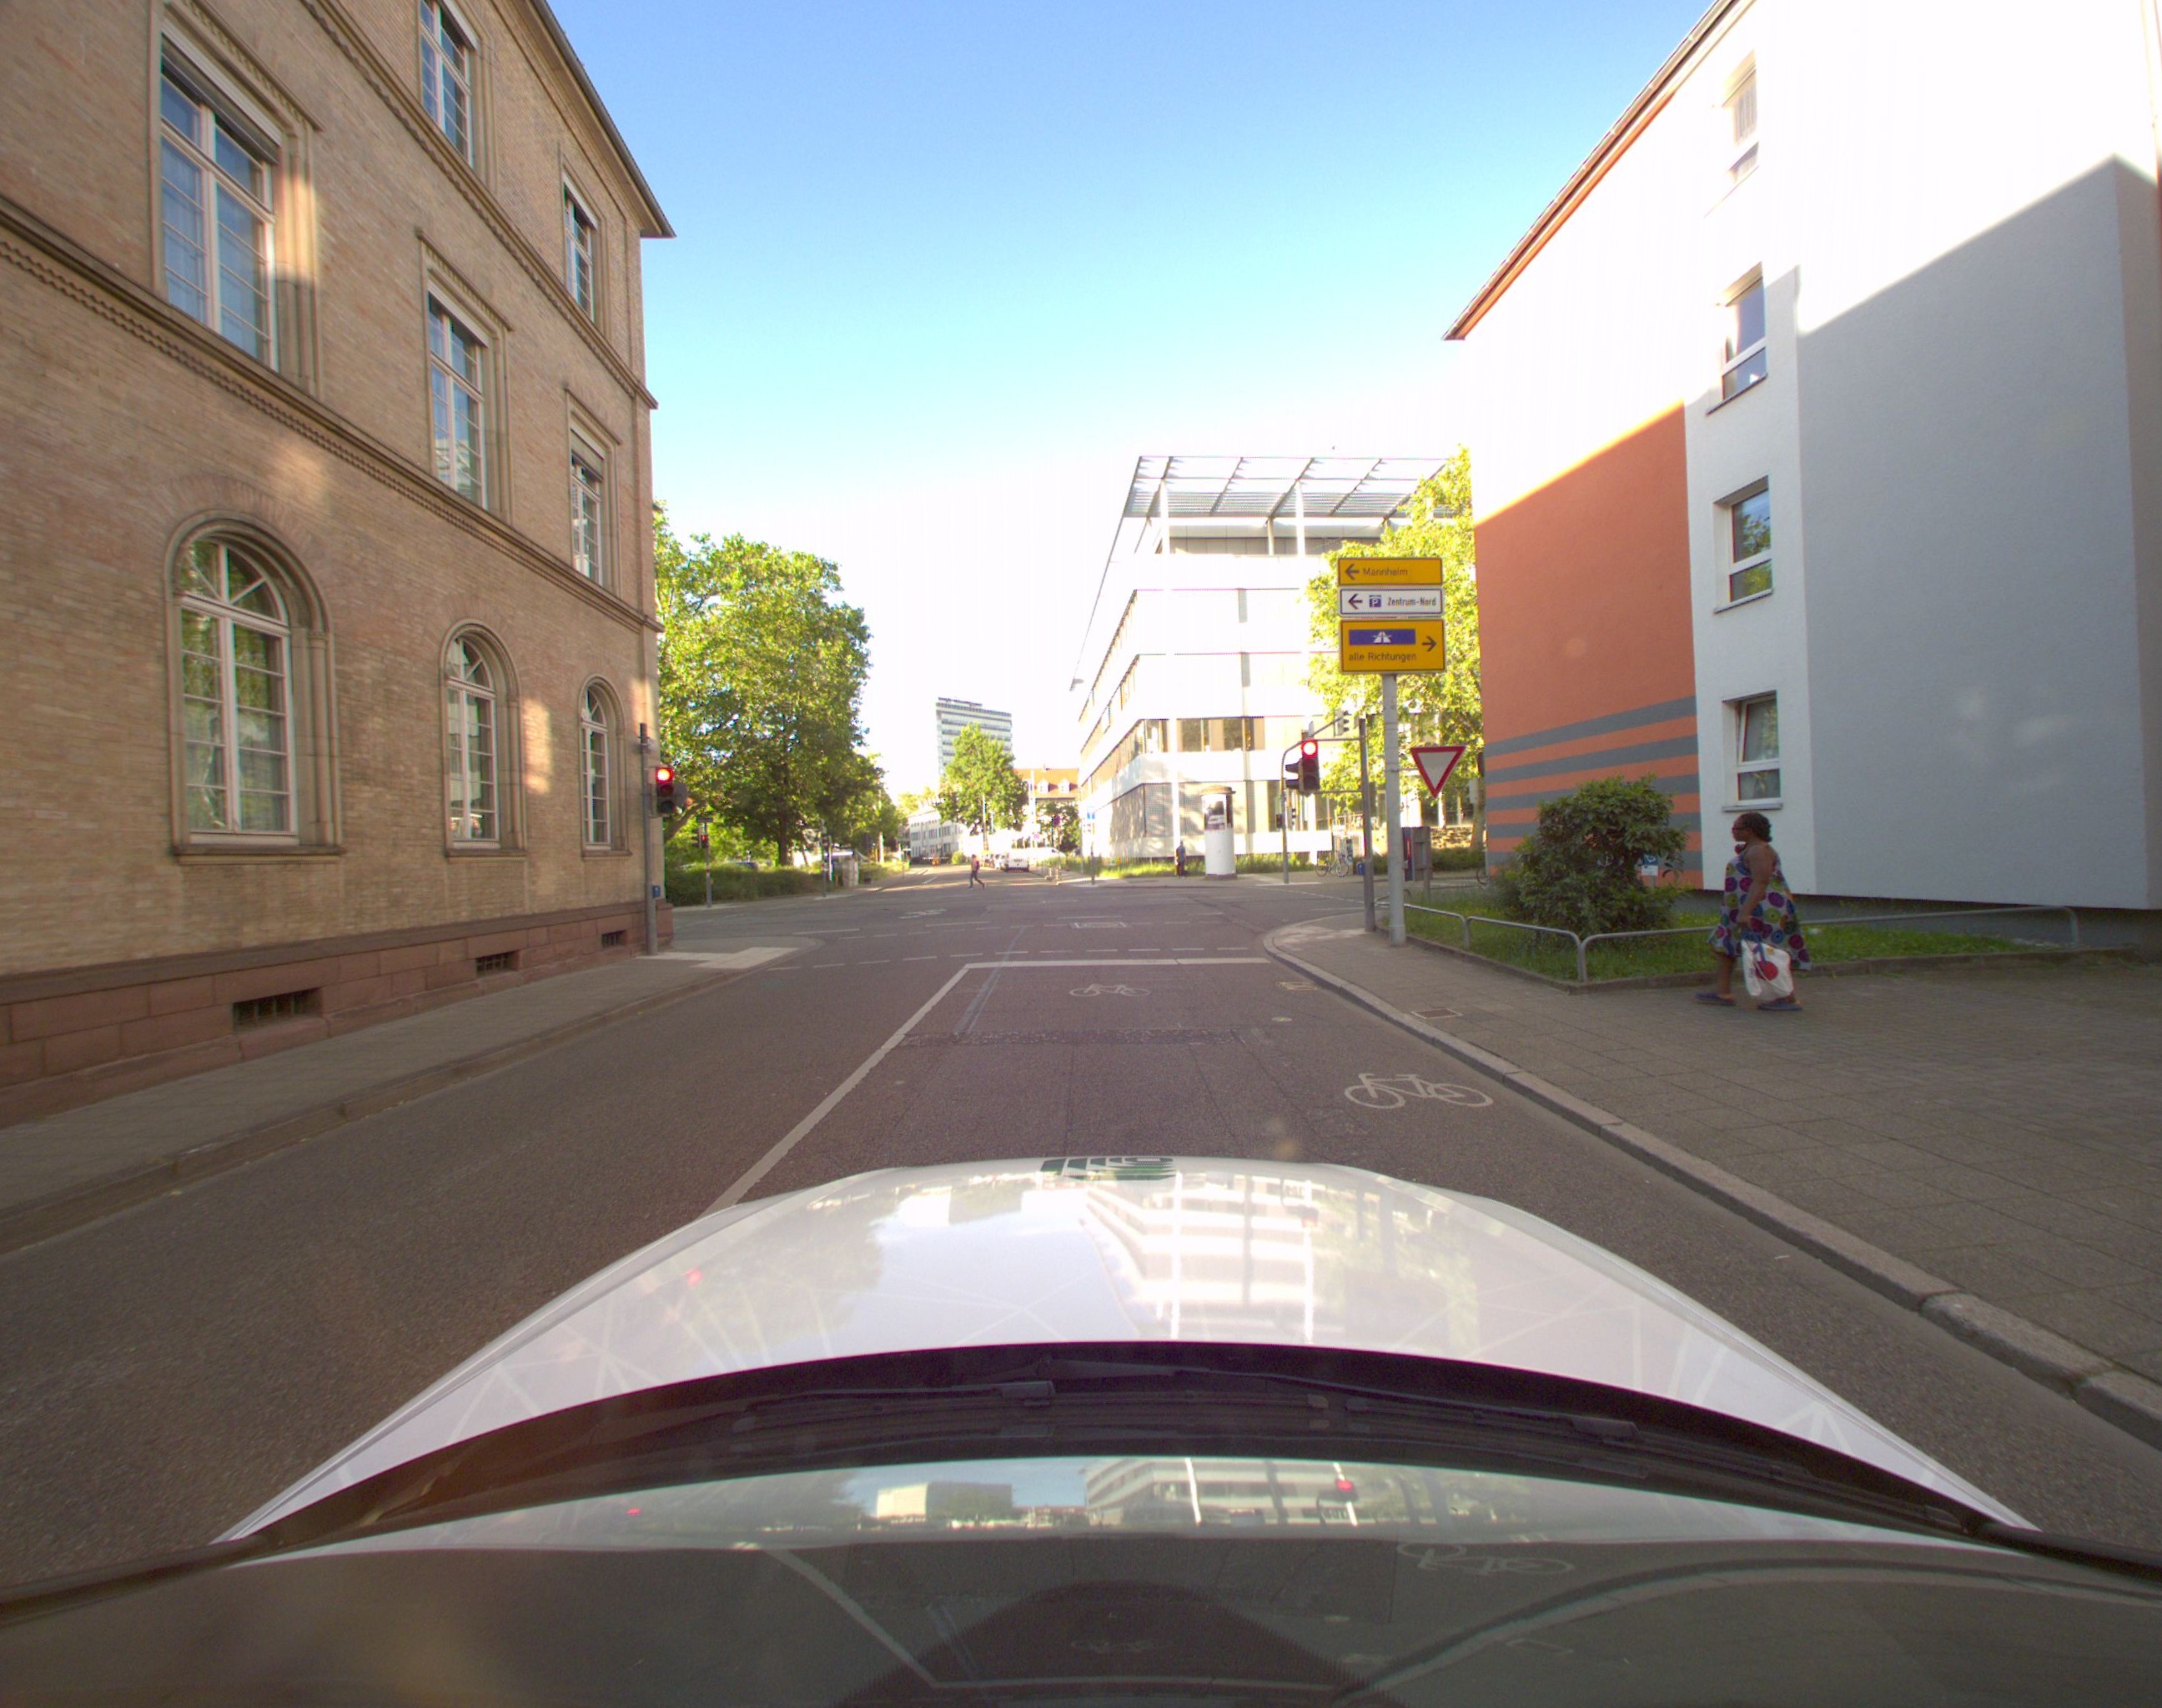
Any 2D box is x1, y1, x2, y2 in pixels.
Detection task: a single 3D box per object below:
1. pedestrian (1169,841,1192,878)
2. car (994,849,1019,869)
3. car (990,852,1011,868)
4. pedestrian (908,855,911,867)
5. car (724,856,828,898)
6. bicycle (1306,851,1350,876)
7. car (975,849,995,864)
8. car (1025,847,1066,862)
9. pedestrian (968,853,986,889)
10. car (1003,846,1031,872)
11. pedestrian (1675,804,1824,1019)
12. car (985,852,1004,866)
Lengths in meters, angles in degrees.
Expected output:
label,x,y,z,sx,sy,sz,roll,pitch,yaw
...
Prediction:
label,x,y,z,sx,sy,sz,roll,pitch,yaw
pedestrian,4.745,0.250,38.880,0.658,1.736,0.802,-2,0,-43
car,-7.097,0.463,76.905,1.947,1.795,4.223,-2,0,-11
car,-8.103,0.596,81.721,1.705,1.424,4.221,-2,0,-11
pedestrian,-23.082,0.942,109.475,0.380,1.534,0.444,-2,0,-10
car,-14.401,1.059,38.635,4.219,1.777,1.901,-2,0,-7
bicycle,10.901,0.434,35.991,0.467,1.049,1.893,-2,0,-40
car,-11.312,0.280,96.121,2.100,1.658,4.461,-2,0,-9
car,-4.548,0.055,103.155,4.889,1.872,1.990,-1,-1,-15
pedestrian,-4.719,0.754,36.886,0.711,1.599,0.616,-2,0,-6
car,-5.129,0.384,64.931,2.065,1.963,4.228,-2,0,-6
pedestrian,5.330,0.418,6.557,0.741,1.573,0.963,-4,1,33
car,-9.197,0.512,86.240,1.704,1.464,4.225,-2,0,-9
